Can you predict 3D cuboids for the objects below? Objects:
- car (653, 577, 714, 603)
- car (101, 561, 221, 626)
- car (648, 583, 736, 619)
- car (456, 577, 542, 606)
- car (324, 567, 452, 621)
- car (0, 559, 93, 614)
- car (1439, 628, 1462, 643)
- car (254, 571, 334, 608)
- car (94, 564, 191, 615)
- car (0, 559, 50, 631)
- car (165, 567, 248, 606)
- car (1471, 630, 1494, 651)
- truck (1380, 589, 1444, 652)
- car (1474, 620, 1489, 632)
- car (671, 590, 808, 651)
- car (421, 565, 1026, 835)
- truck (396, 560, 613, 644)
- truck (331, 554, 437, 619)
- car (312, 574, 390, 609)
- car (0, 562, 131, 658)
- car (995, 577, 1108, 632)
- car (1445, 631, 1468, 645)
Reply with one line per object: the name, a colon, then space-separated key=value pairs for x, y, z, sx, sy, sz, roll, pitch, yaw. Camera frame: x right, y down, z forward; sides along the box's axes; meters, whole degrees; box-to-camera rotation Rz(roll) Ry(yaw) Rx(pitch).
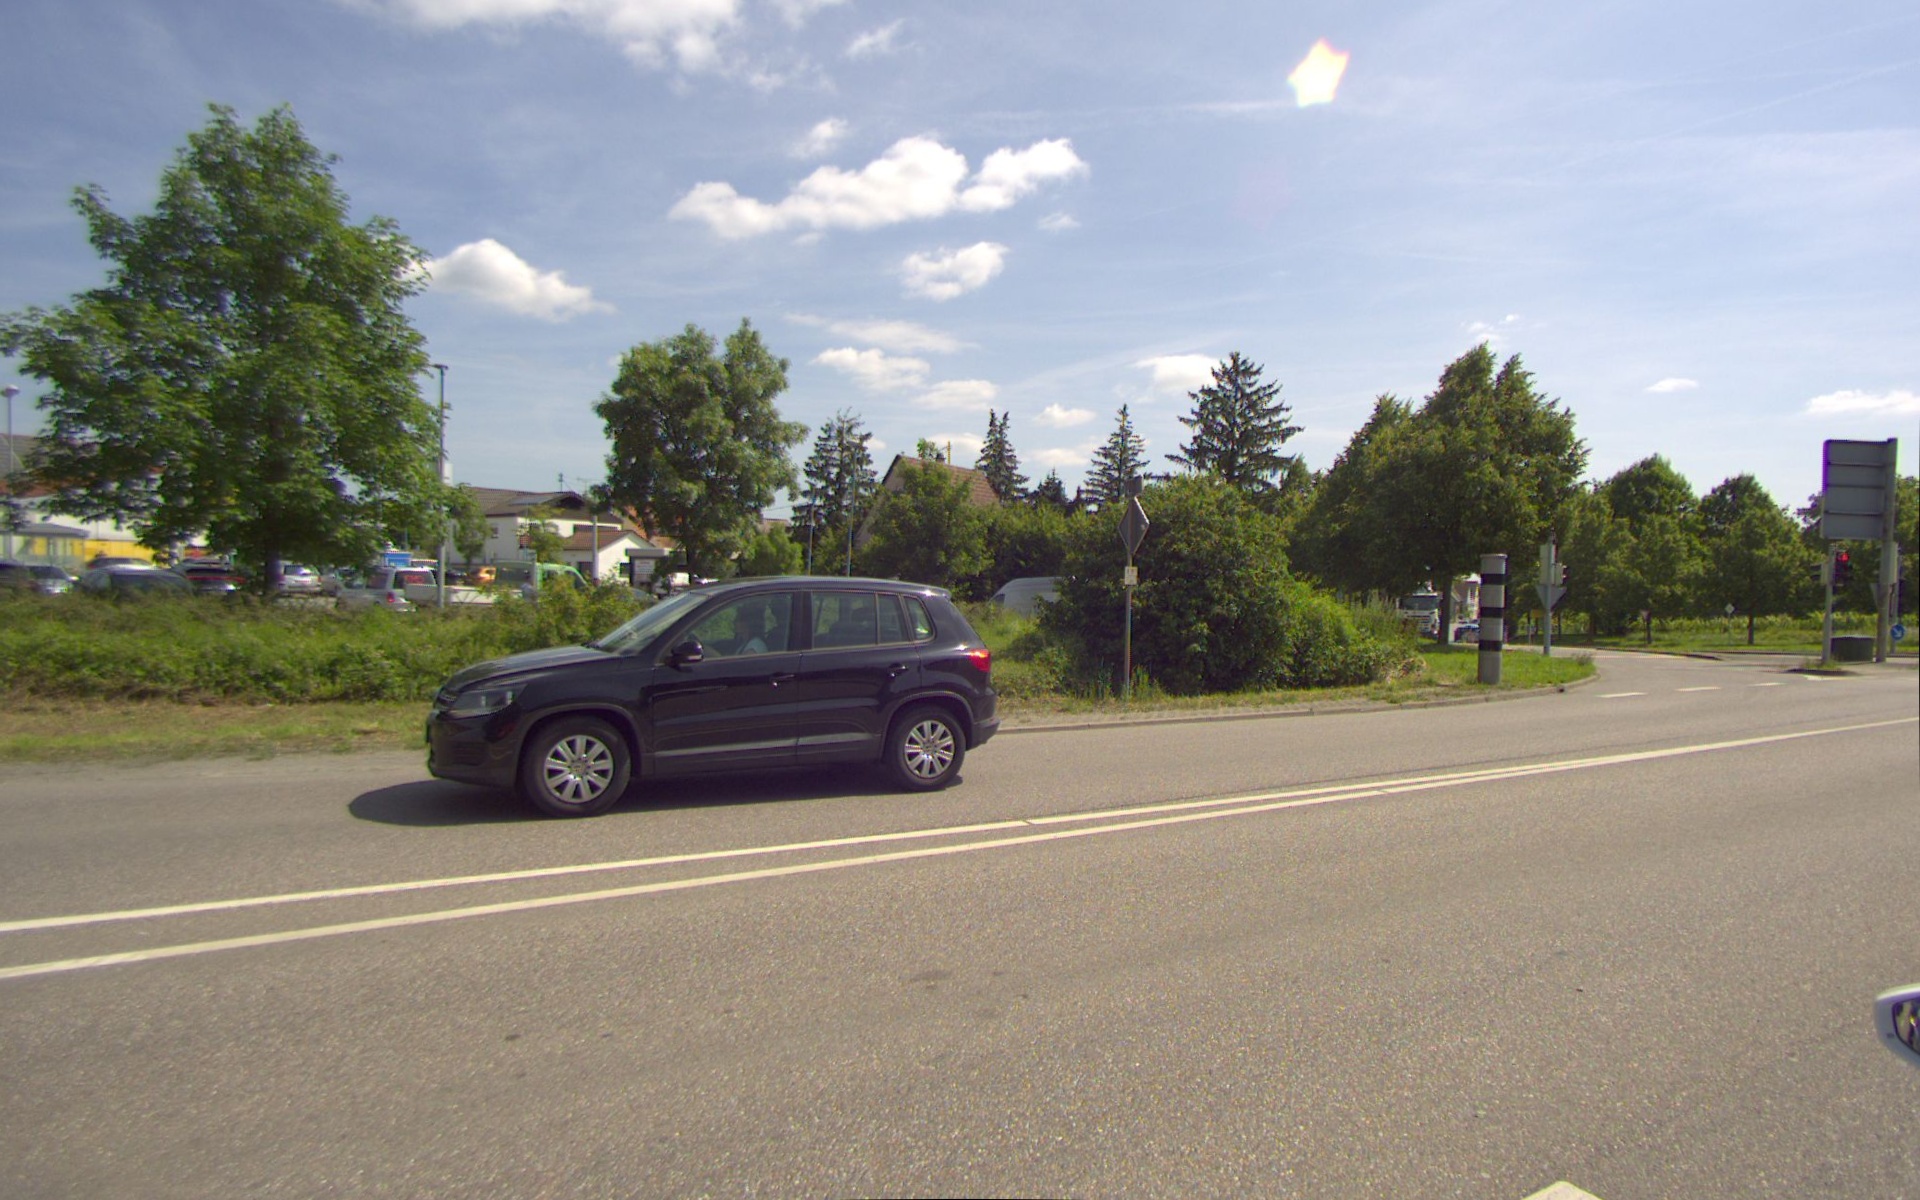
car: x=-20.178 y=-0.722 z=73.405 sx=1.866 sy=1.782 sz=3.988 roll=2 pitch=0 yaw=35
car: x=-22.844 y=-0.207 z=28.671 sx=3.939 sy=1.711 sz=1.918 roll=2 pitch=0 yaw=40
car: x=-13.583 y=0.064 z=51.012 sx=1.883 sy=1.662 sz=3.984 roll=2 pitch=0 yaw=38
car: x=-27.128 y=-0.483 z=59.218 sx=1.849 sy=1.562 sz=4.243 roll=2 pitch=0 yaw=37
car: x=-19.314 y=-0.212 z=33.881 sx=4.353 sy=1.717 sz=1.994 roll=1 pitch=0 yaw=34
car: x=-28.222 y=-0.421 z=30.733 sx=3.936 sy=1.549 sz=1.772 roll=2 pitch=0 yaw=37
car: x=47.725 y=3.438 z=97.756 sx=1.711 sy=1.322 sz=4.273 roll=1 pitch=0 yaw=30
car: x=-30.286 y=-0.504 z=45.668 sx=4.193 sy=1.562 sz=1.871 roll=2 pitch=0 yaw=40
car: x=-26.507 y=-0.349 z=32.547 sx=3.941 sy=1.549 sz=1.770 roll=2 pitch=0 yaw=41
car: x=-24.800 y=-0.174 z=25.551 sx=3.939 sy=1.697 sz=1.903 roll=3 pitch=1 yaw=40
car: x=-32.398 y=-0.578 z=43.157 sx=4.193 sy=1.562 sz=1.871 roll=2 pitch=0 yaw=40
car: x=42.250 y=3.253 z=81.223 sx=1.509 sy=1.511 sz=4.004 roll=2 pitch=0 yaw=27
truck: x=29.911 y=1.349 z=66.767 sx=2.888 sy=3.848 sz=7.929 roll=2 pitch=0 yaw=18
car: x=75.467 y=3.768 z=145.300 sx=1.728 sy=1.773 sz=3.993 roll=2 pitch=0 yaw=29
car: x=-7.077 y=0.639 z=32.190 sx=3.928 sy=1.751 sz=1.997 roll=2 pitch=0 yaw=29
car: x=-1.755 y=0.626 z=7.798 sx=4.215 sy=1.619 sz=1.797 roll=1 pitch=0 yaw=-28
truck: x=-14.289 y=0.090 z=32.056 sx=2.207 sy=2.407 sz=6.344 roll=1 pitch=0 yaw=26
truck: x=-22.338 y=-0.531 z=38.910 sx=3.932 sy=2.397 sz=1.994 roll=2 pitch=0 yaw=34
car: x=-29.009 y=-0.426 z=47.811 sx=4.193 sy=1.562 sz=1.871 roll=2 pitch=0 yaw=40
car: x=-17.552 y=0.163 z=19.450 sx=3.941 sy=1.679 sz=1.686 roll=2 pitch=0 yaw=42
car: x=3.949 y=0.150 z=43.731 sx=4.524 sy=2.209 sz=1.992 roll=2 pitch=1 yaw=37
car: x=53.000 y=4.047 z=107.200 sx=1.649 sy=1.374 sz=3.848 roll=0 pitch=-3 yaw=36
